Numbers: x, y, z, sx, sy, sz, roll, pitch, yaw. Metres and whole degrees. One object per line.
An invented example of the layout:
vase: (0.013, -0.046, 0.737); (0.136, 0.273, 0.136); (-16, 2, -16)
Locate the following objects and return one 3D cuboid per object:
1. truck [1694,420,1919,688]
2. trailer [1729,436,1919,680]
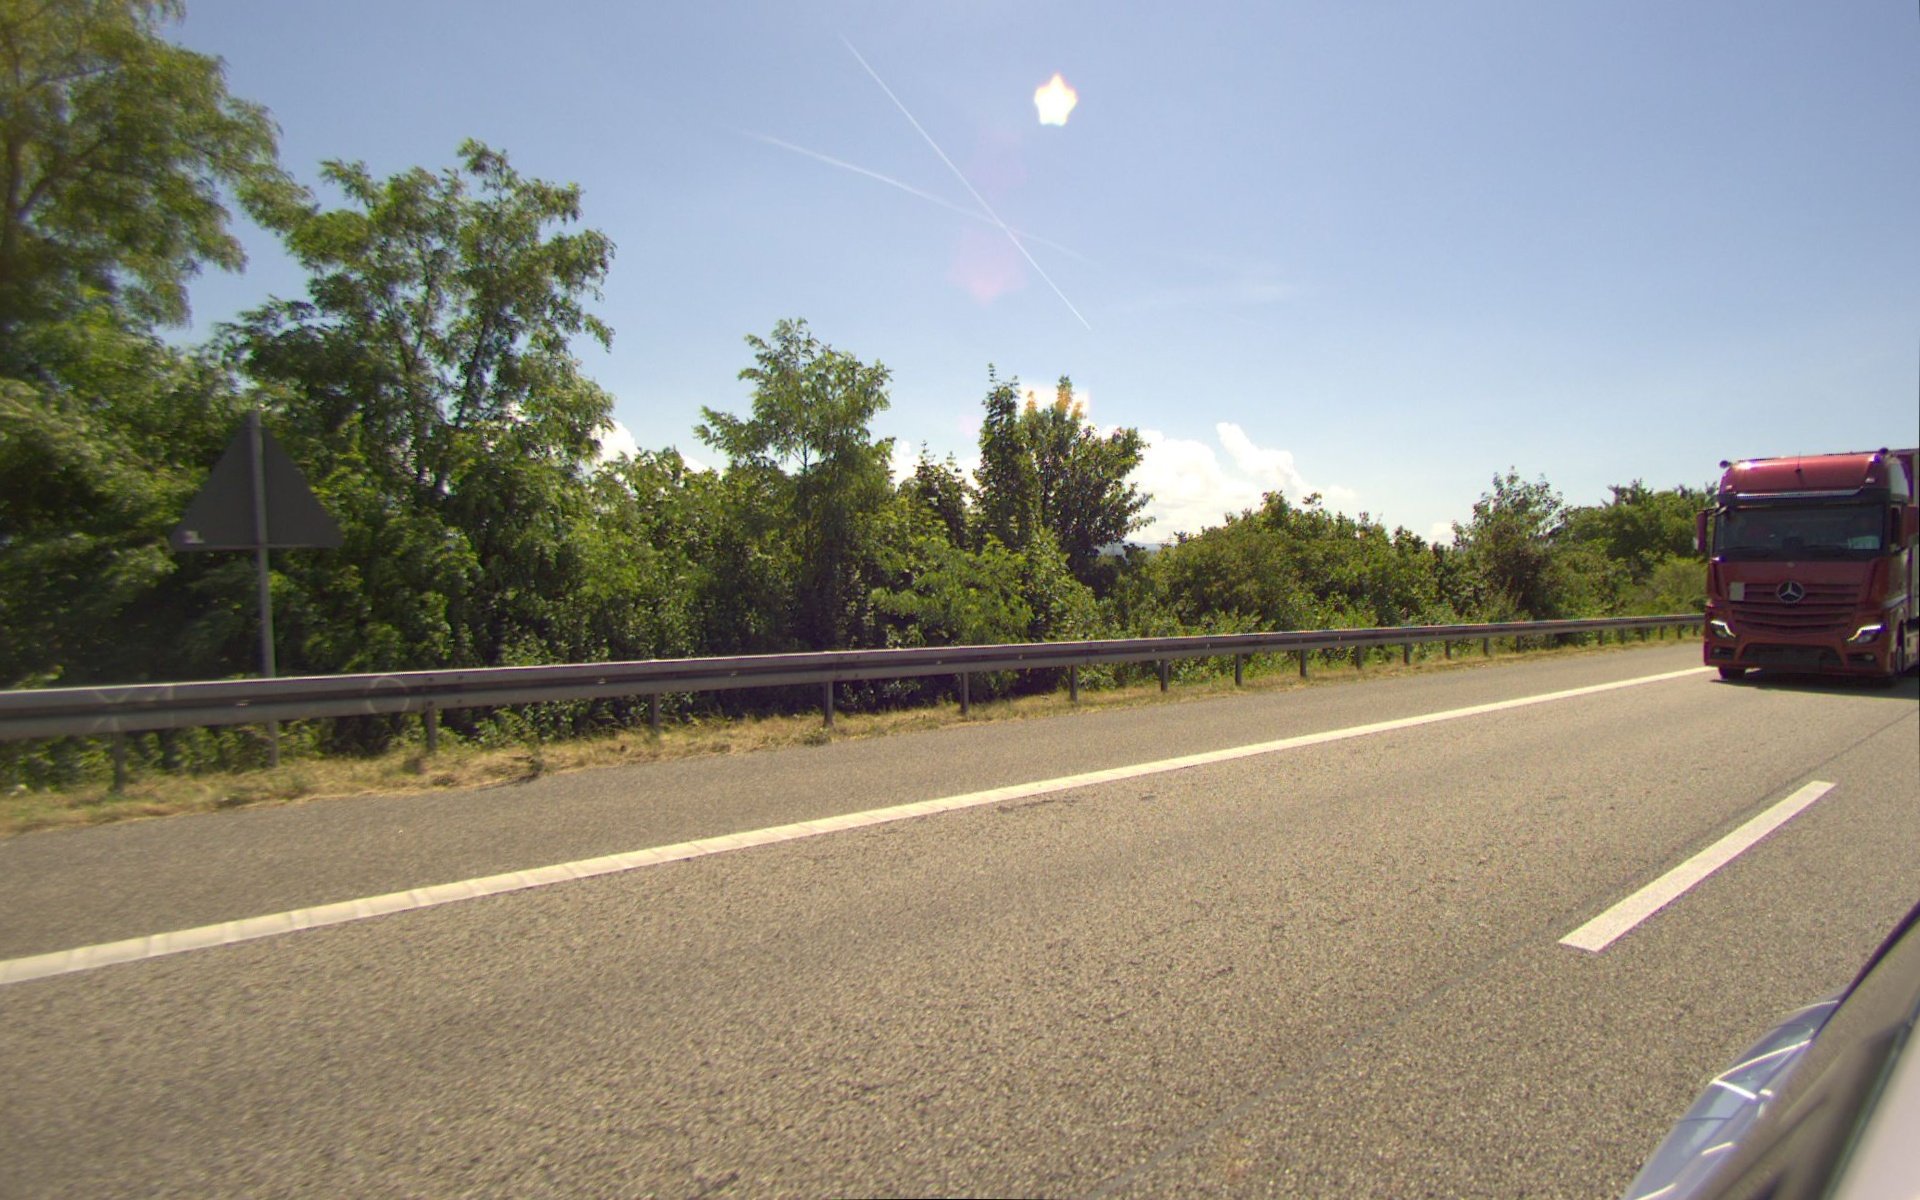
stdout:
truck: (16.345, -0.759, 18.878); (6.842, 4.139, 2.713); (0, 2, -41)
trailer: (20.760, -0.768, 22.693); (13.902, 4.139, 2.712); (0, 2, -41)
